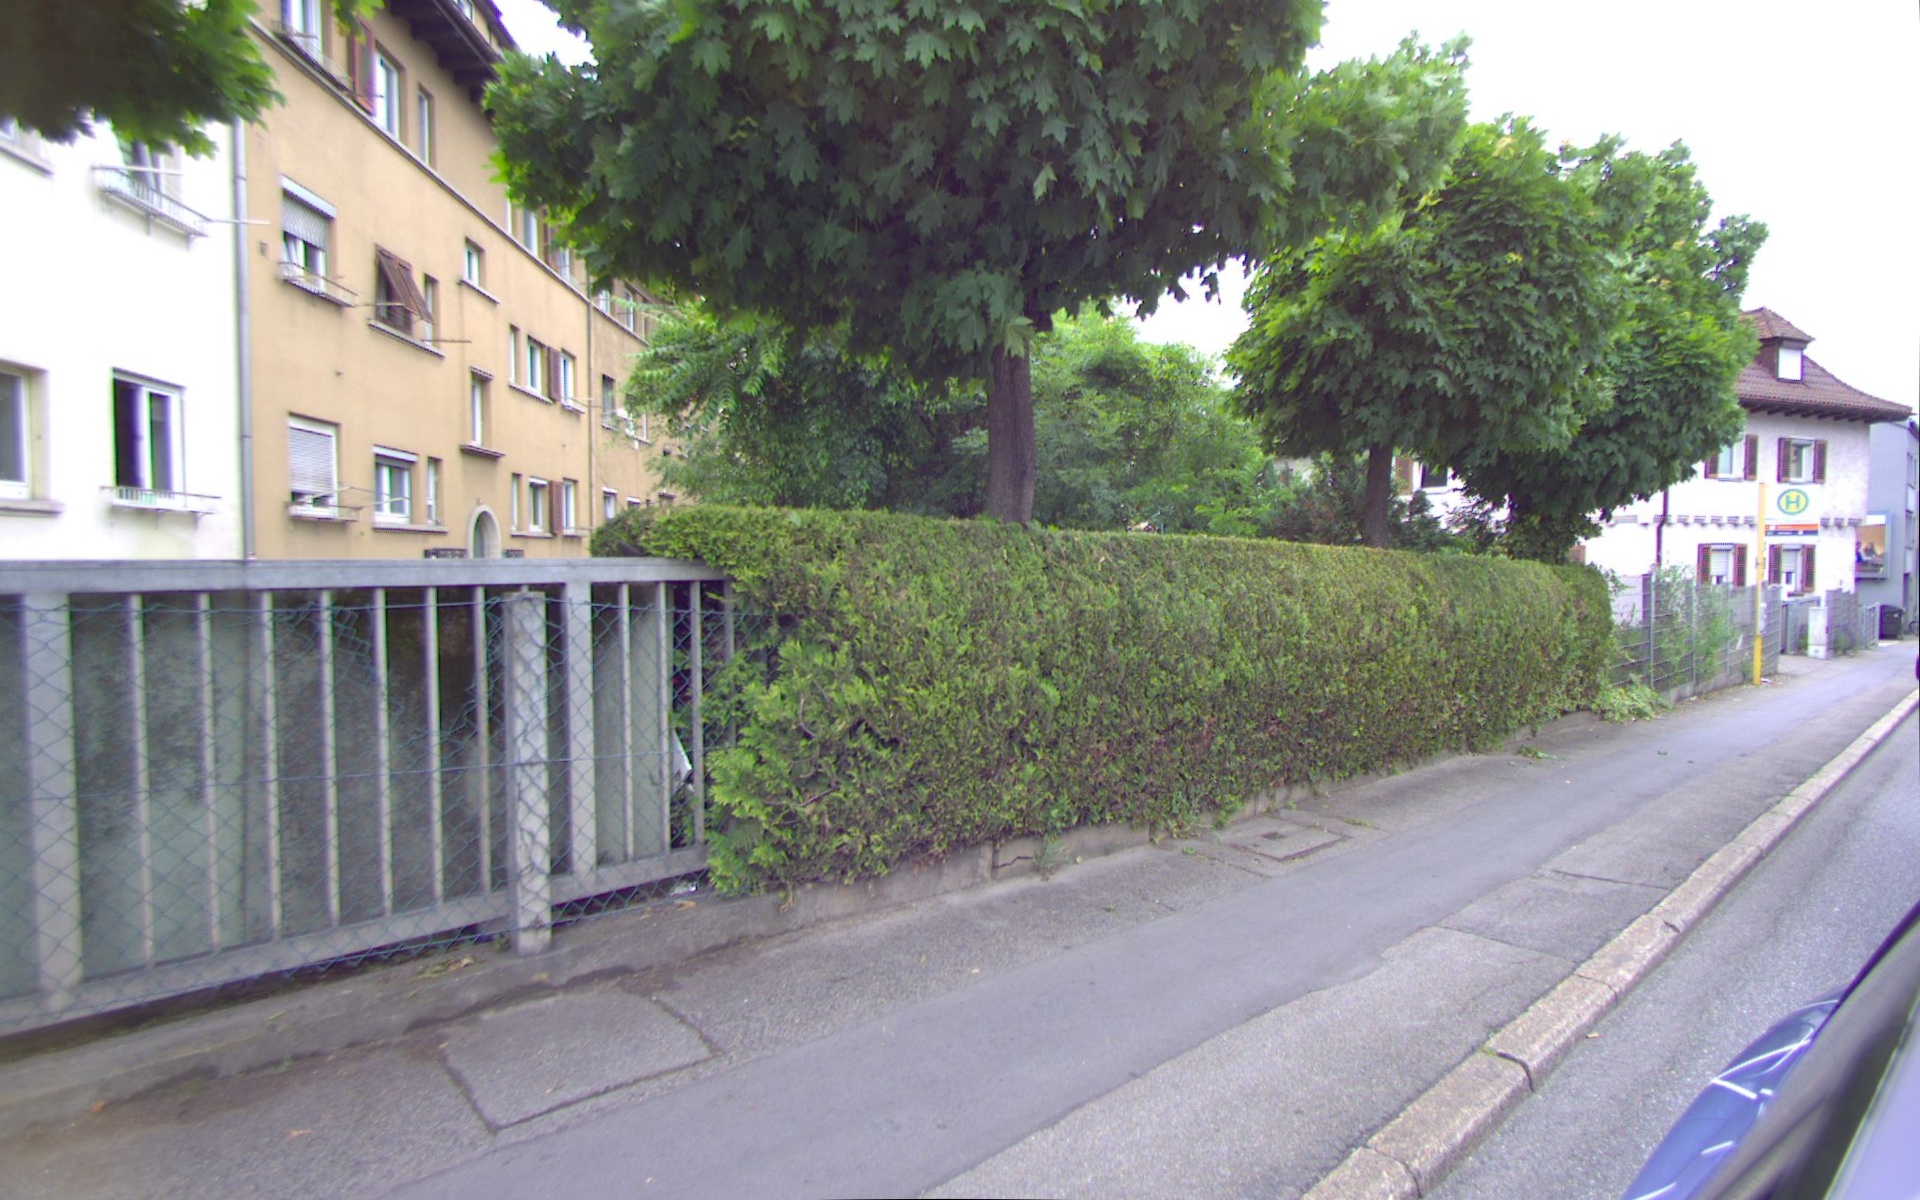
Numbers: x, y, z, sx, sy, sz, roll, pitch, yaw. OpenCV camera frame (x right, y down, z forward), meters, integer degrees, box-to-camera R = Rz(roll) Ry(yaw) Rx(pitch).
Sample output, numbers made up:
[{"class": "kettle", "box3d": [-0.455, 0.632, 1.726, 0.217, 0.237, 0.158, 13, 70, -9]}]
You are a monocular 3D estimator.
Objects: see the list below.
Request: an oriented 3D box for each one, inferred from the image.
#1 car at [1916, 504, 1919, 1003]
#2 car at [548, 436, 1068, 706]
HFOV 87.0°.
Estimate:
[{"class": "car", "box3d": [5.808, 0.533, 4.468, 4.629, 1.804, 1.861, -1, 0, -41]}, {"class": "car", "box3d": [-0.967, -0.179, 7.331, 3.381, 1.478, 1.698, -1, 1, -43]}]
